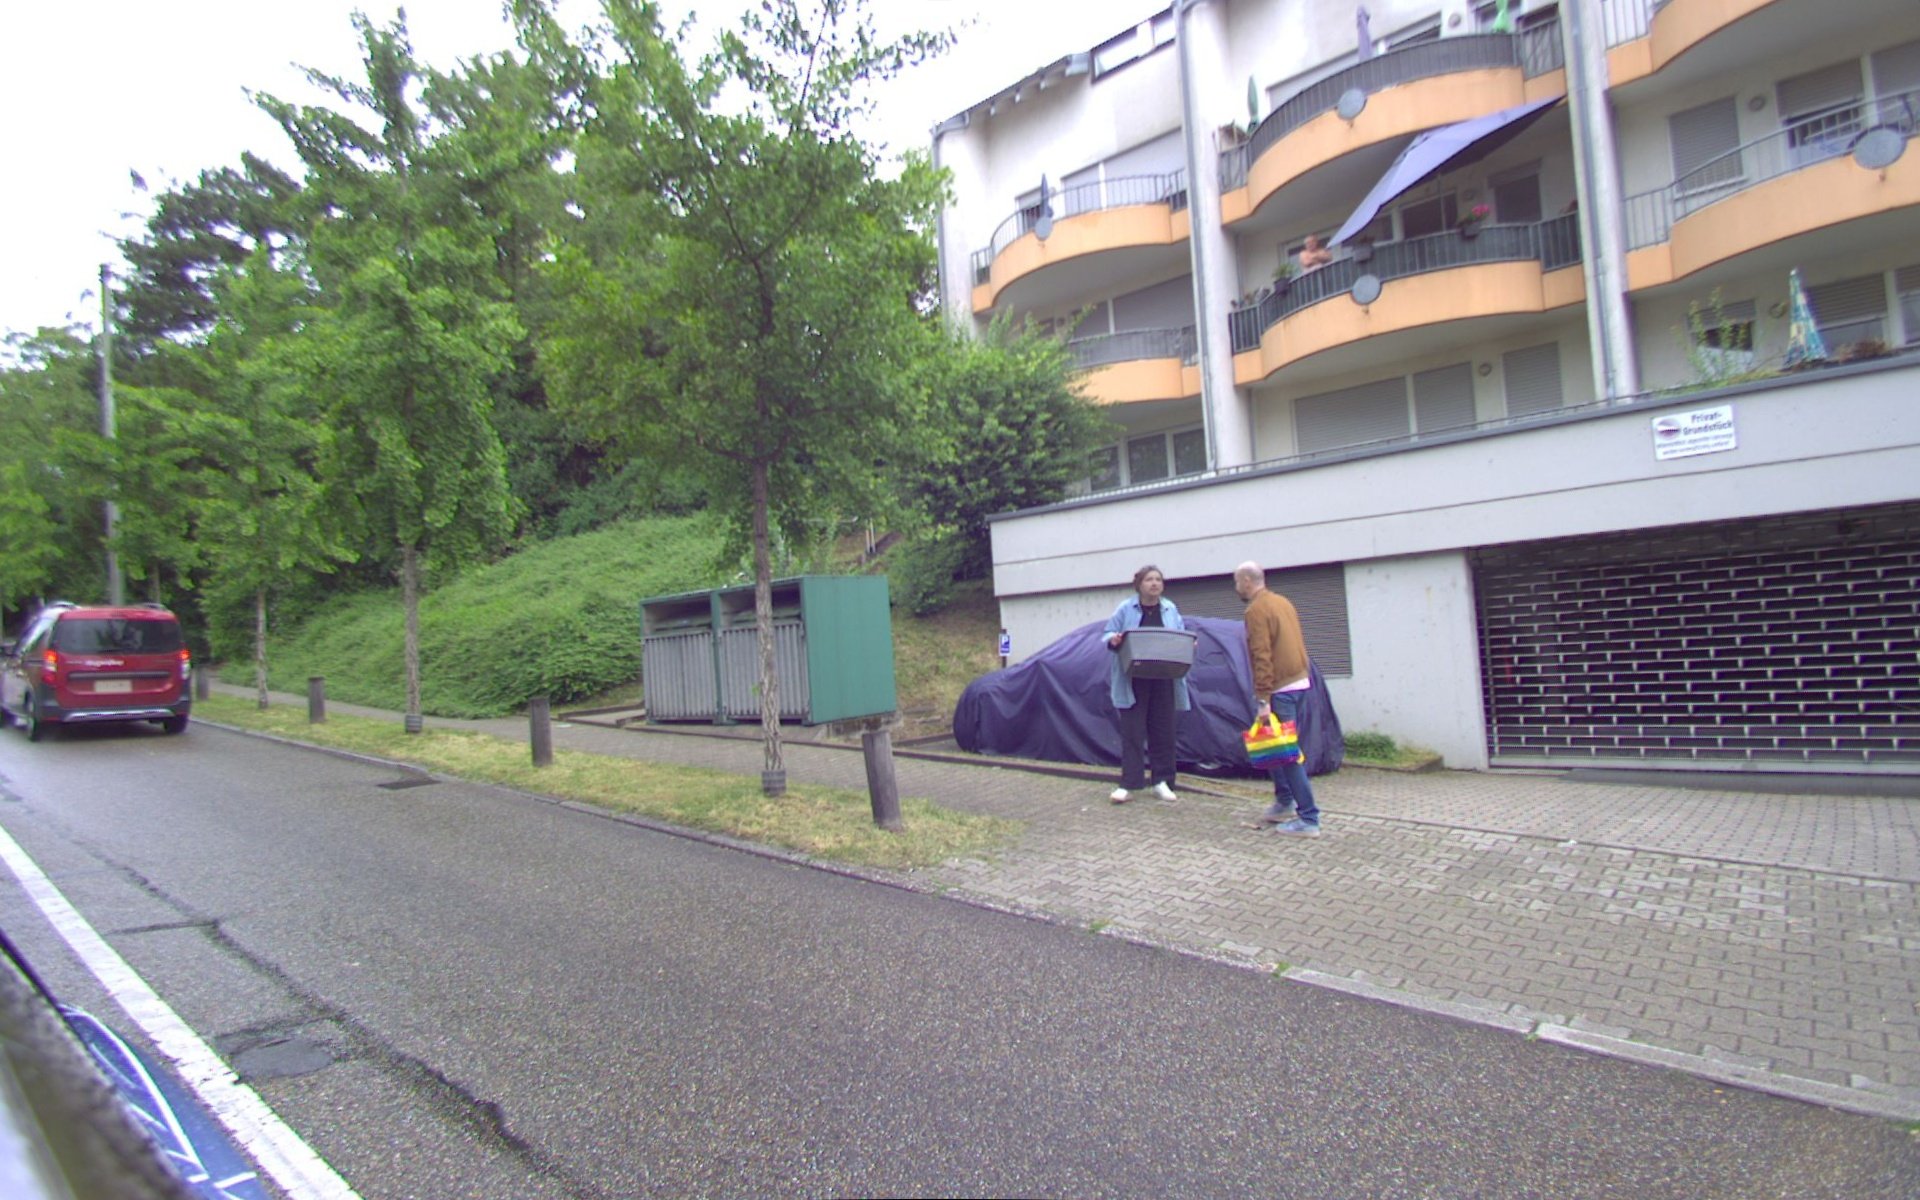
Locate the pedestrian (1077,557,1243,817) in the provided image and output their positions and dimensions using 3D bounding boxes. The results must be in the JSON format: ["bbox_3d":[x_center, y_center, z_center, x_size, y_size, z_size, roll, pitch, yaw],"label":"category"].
[{"bbox_3d":[1.492,0.602,7.717,0.811,1.795,1.076,-2,1,-13],"label":"pedestrian"}]

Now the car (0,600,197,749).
[{"bbox_3d":[-12.666,0.966,14.625,4.456,1.842,1.728,-1,-2,41],"label":"car"}]

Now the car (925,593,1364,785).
[{"bbox_3d":[1.748,0.827,10.360,4.096,1.573,1.759,-2,-5,41],"label":"car"}]

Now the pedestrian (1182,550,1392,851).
[{"bbox_3d":[2.165,0.597,6.688,1.071,1.795,0.814,-1,1,36],"label":"pedestrian"}]
